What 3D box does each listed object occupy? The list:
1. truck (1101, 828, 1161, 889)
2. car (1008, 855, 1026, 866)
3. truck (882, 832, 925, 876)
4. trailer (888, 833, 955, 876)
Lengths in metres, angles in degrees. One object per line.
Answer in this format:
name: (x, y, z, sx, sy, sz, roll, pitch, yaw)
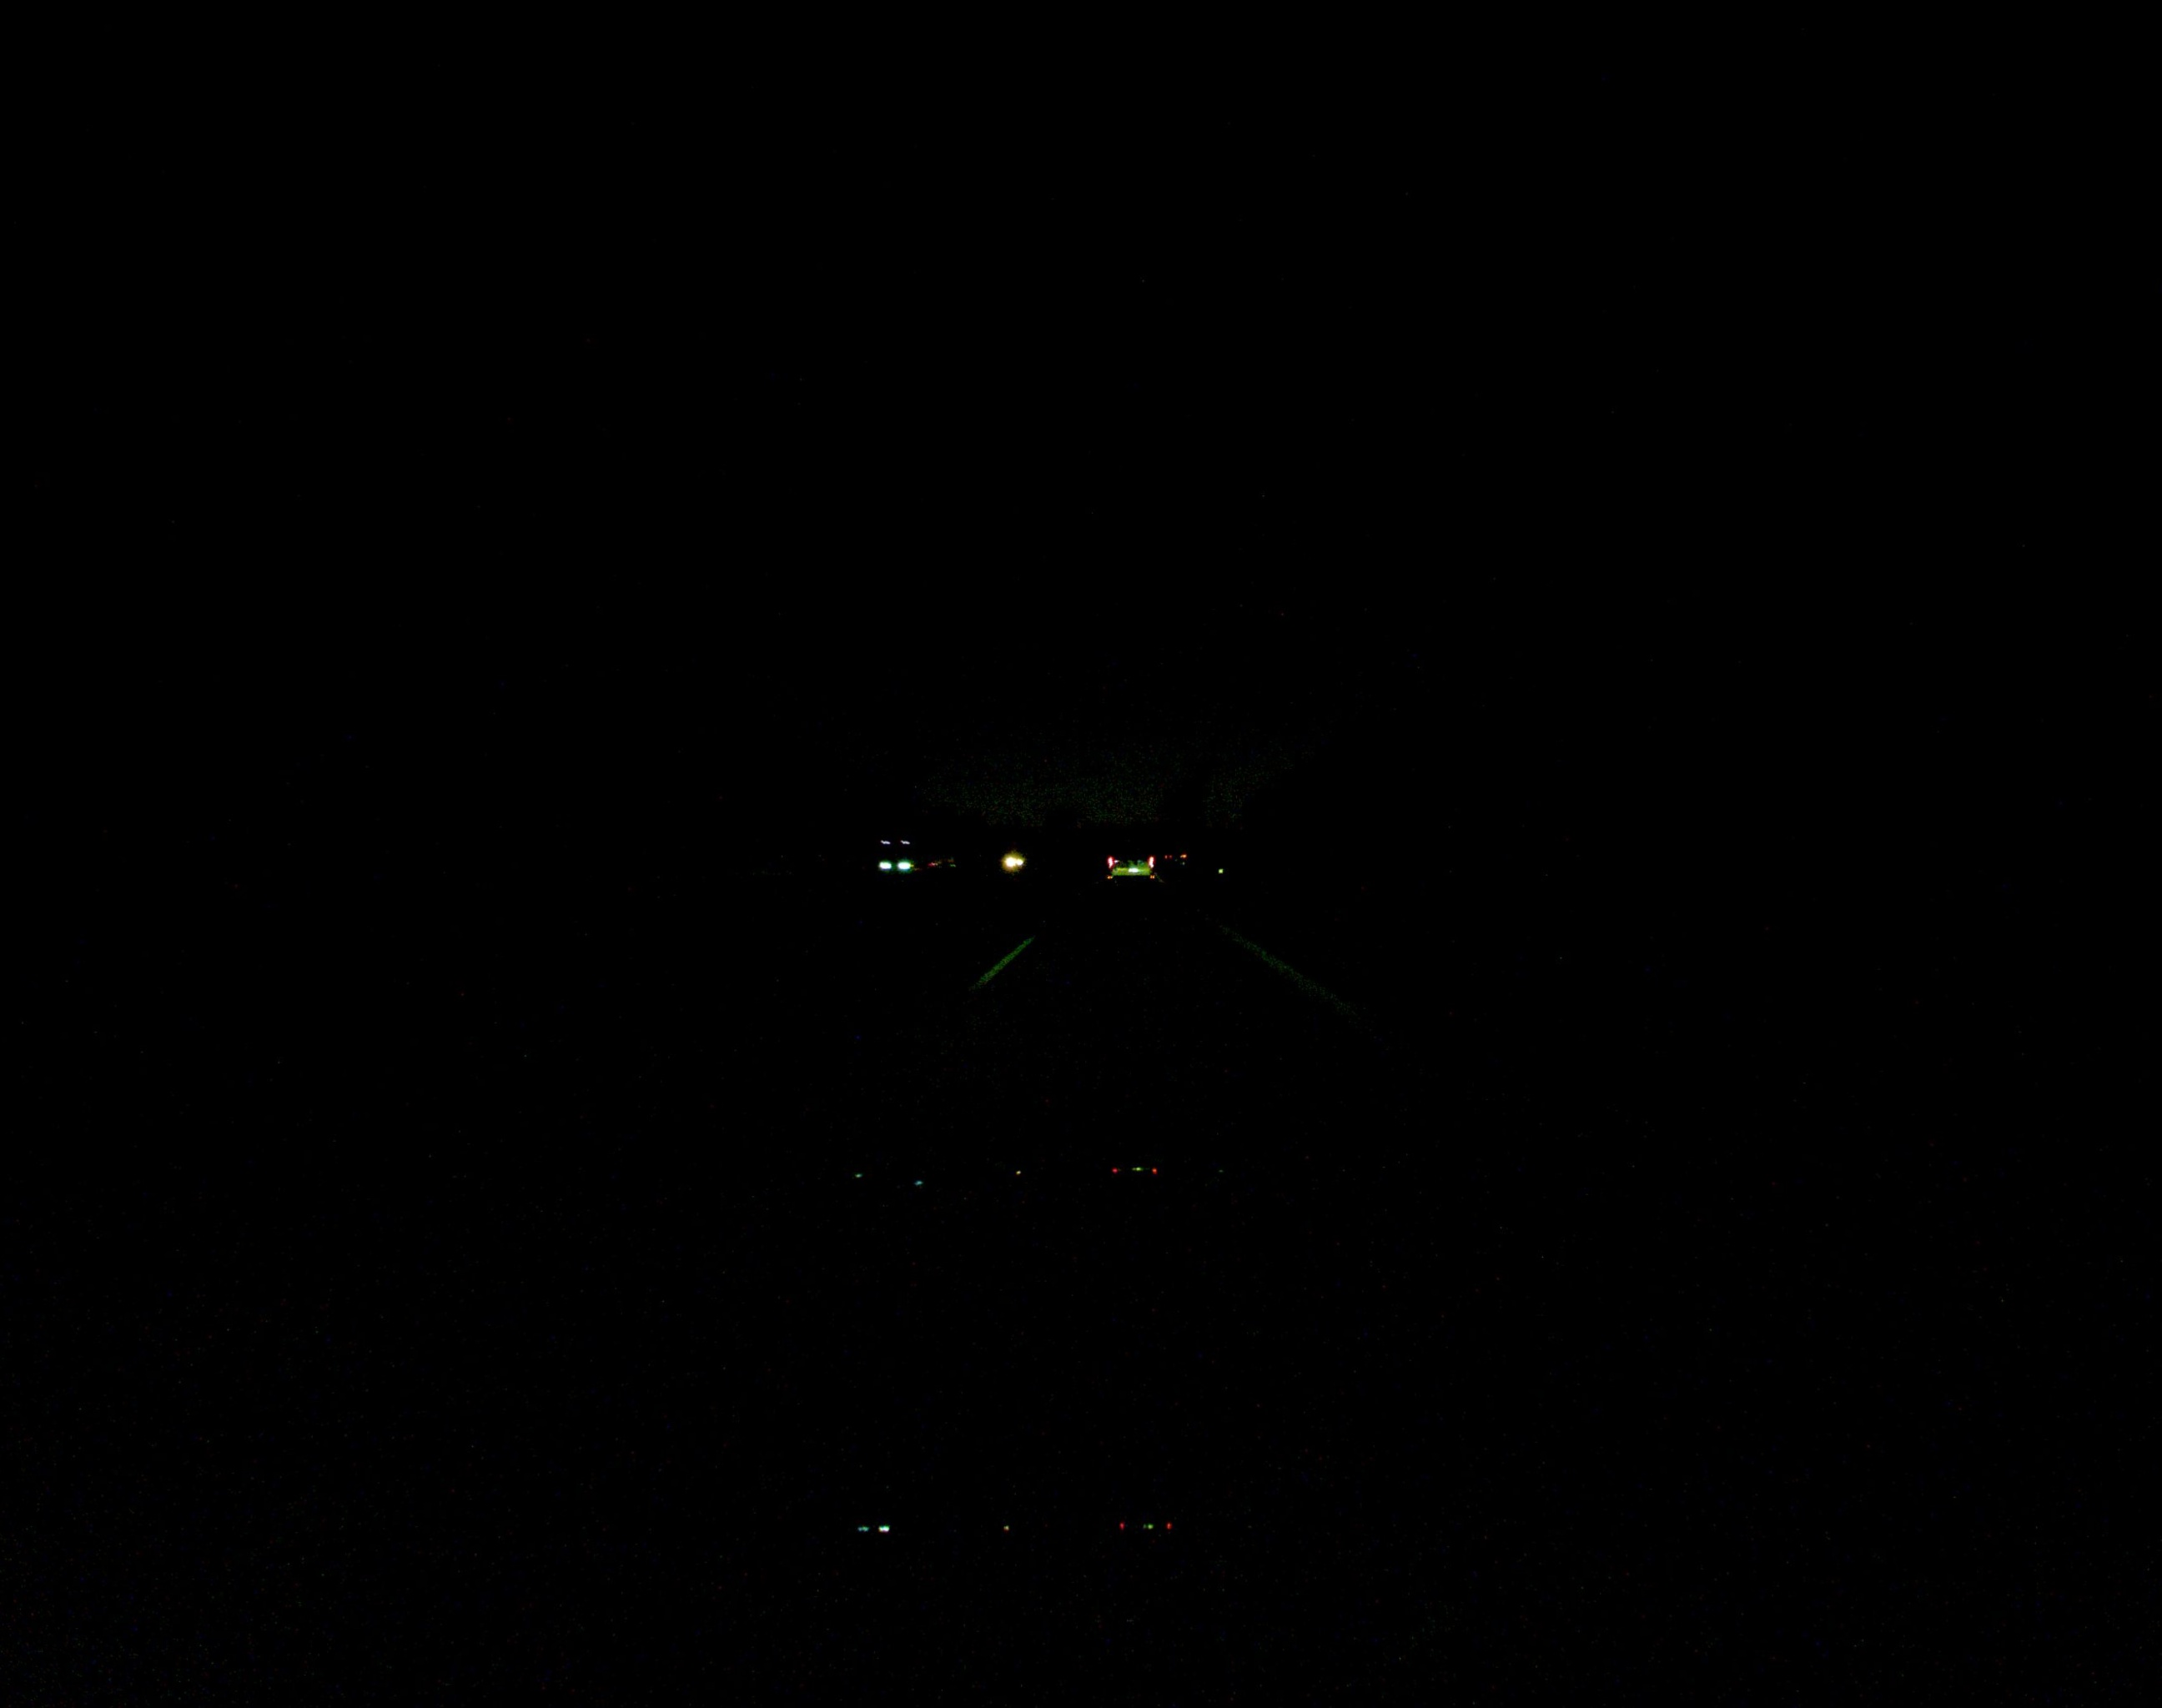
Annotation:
truck: (2.471, 0.260, 40.175, 2.619, 2.624, 8.692, -1, -1, 3)
car: (-9.984, 0.993, 126.851, 1.984, 1.580, 4.590, -1, -1, 5)
truck: (-17.647, 0.046, 81.182, 2.701, 4.199, 5.426, -1, -1, 4)
trailer: (-17.081, 0.139, 89.012, 2.676, 4.218, 17.272, -1, -1, 4)
